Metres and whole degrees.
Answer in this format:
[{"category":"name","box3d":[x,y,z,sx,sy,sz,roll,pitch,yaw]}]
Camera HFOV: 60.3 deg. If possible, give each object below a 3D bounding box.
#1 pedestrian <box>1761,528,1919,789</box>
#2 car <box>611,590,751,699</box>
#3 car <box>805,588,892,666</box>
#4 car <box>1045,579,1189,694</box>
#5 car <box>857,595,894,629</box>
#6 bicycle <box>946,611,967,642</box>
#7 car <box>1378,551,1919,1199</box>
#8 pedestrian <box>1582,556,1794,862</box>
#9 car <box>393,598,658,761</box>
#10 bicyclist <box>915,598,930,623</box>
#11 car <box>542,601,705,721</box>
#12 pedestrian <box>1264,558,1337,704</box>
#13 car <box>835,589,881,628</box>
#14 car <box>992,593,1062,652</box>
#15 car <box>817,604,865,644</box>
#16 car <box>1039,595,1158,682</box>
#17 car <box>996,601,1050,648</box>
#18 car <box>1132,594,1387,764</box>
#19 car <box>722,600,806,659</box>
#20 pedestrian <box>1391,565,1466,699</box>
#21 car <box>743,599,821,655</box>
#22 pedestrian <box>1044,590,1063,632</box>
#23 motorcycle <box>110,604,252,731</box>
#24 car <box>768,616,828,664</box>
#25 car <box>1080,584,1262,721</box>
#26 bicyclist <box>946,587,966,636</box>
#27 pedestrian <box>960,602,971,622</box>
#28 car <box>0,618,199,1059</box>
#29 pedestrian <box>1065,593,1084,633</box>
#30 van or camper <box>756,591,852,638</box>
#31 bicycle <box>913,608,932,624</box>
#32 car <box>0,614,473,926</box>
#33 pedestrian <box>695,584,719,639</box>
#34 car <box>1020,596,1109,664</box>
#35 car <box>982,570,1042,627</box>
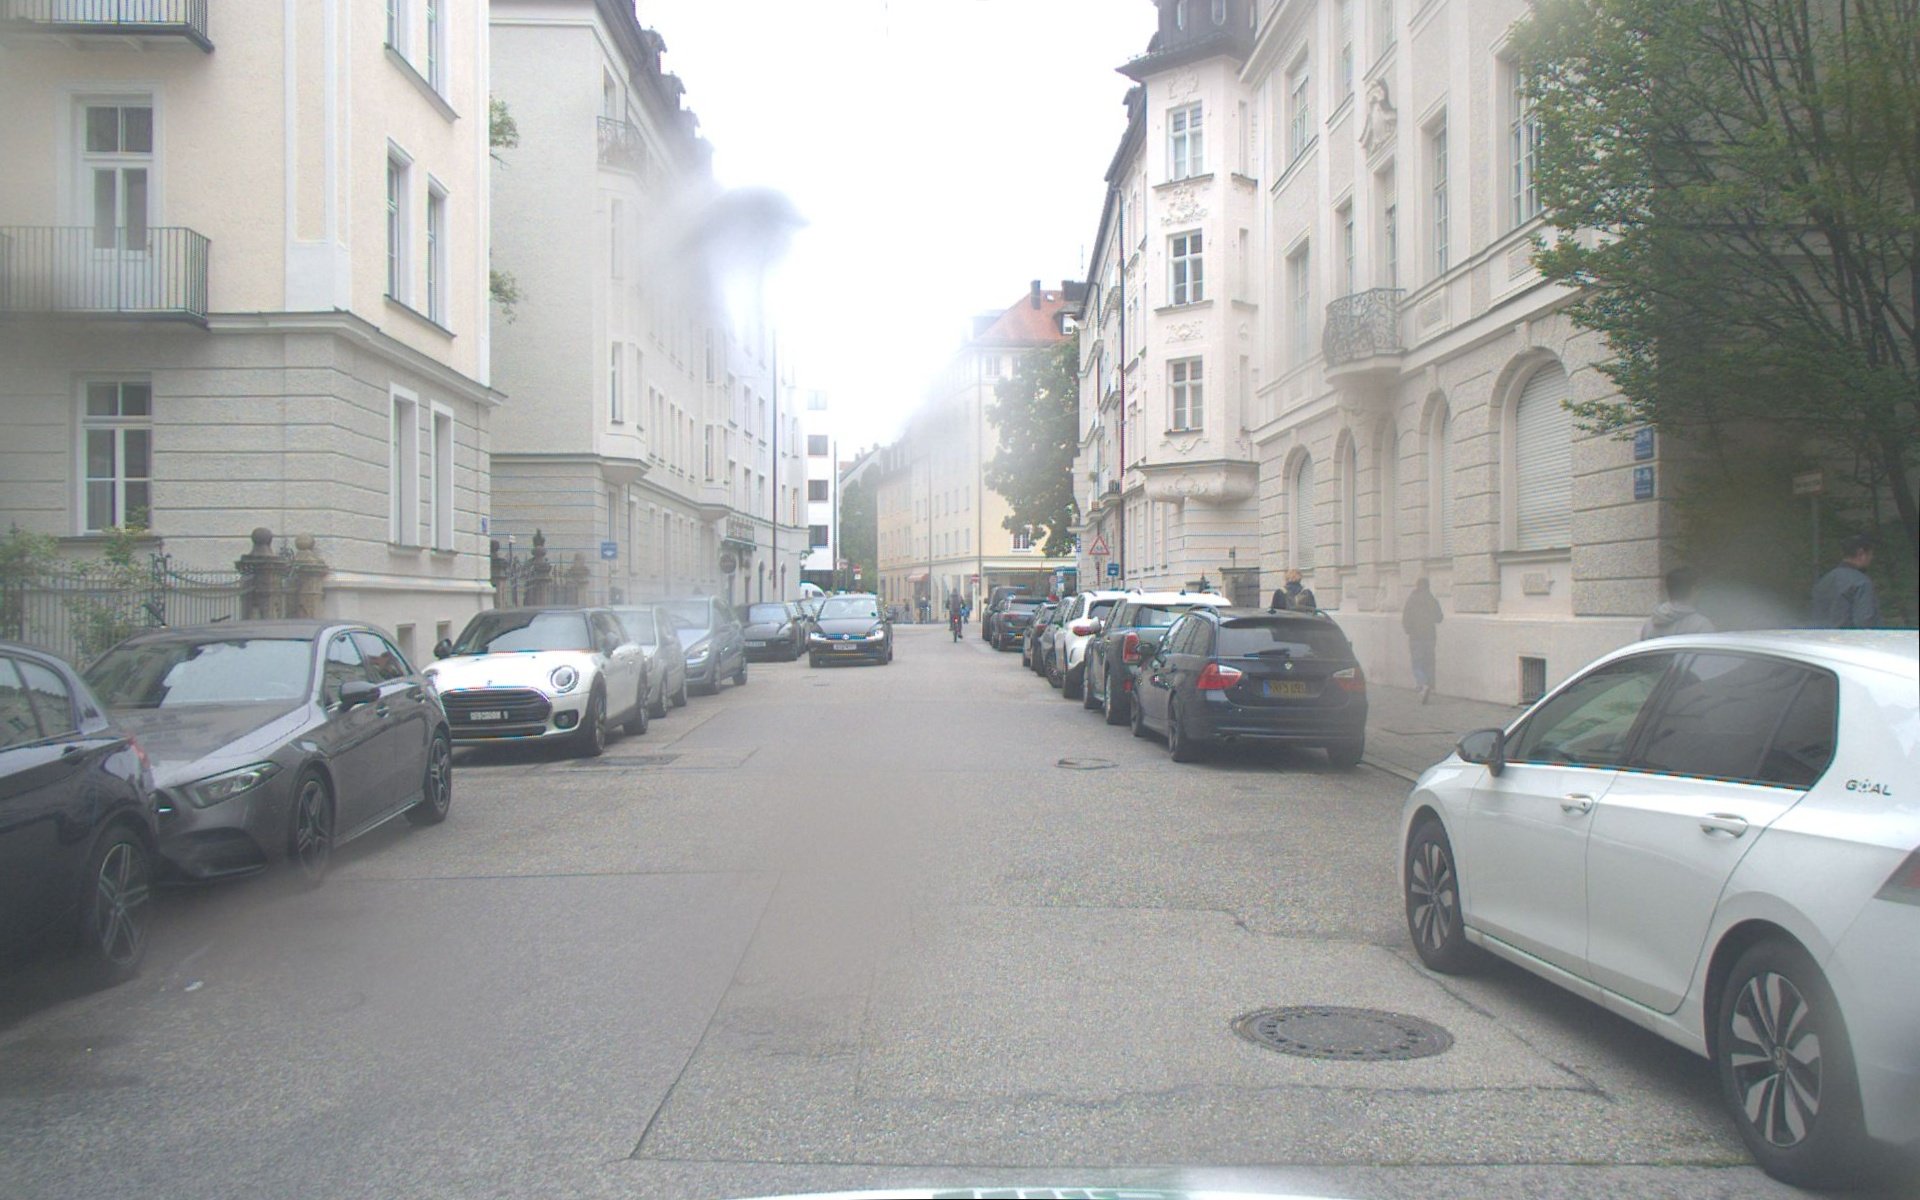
[{"category":"pedestrian","box3d":[6.339,0.405,11.833,0.864,1.800,0.672,-1,0,-2]},{"category":"car","box3d":[-4.631,0.701,27.977,1.662,1.608,4.061,-3,0,-1]},{"category":"car","box3d":[-2.472,0.605,37.590,1.689,1.560,4.084,-3,-1,-1]},{"category":"car","box3d":[2.422,0.519,26.540,1.857,1.665,4.391,-1,0,0]},{"category":"car","box3d":[-4.396,0.655,86.444,1.642,1.625,3.945,-3,-1,1]},{"category":"bicycle","box3d":[-0.107,0.892,55.440,0.626,1.022,1.575,-1,-1,3]},{"category":"car","box3d":[2.909,0.693,5.629,1.630,1.534,4.059,1,-1,-5]},{"category":"pedestrian","box3d":[4.272,0.609,9.719,0.846,1.687,0.854,1,-1,-41]},{"category":"car","box3d":[-4.339,0.756,17.149,1.761,1.460,4.078,-1,-1,-2]},{"category":"bicyclist","box3d":[-2.512,0.692,111.171,0.768,1.666,0.972,0,-1,-15]},{"category":"car","box3d":[-4.547,0.787,22.841,1.612,1.427,3.997,-3,0,-4]},{"category":"pedestrian","box3d":[4.392,0.394,21.379,0.668,1.806,0.855,-3,0,0]},{"category":"car","box3d":[-4.819,0.399,78.451,1.805,1.788,4.001,-1,0,2]},{"category":"car","box3d":[1.888,0.631,47.670,1.673,1.615,3.998,1,0,-3]},{"category":"car","box3d":[-4.711,0.949,66.145,1.706,1.513,4.179,-1,-1,-2]},{"category":"car","box3d":[2.537,0.707,31.143,1.674,1.527,3.997,0,-1,-4]},{"category":"car","box3d":[1.999,0.791,53.431,1.629,1.420,3.582,1,-1,1]},{"category":"car","box3d":[2.824,0.685,16.478,1.676,1.477,4.223,0,0,-1]},{"category":"car","box3d":[-4.879,0.722,41.699,1.813,1.391,4.698,-1,0,-3]},{"category":"pedestrian","box3d":[6.219,0.419,21.984,0.668,1.708,0.812,-3,0,-2]},{"category":"car","box3d":[-5.070,0.772,47.588,1.758,1.444,4.509,-4,-1,-1]},{"category":"pedestrian","box3d":[3.987,0.469,70.850,0.689,1.758,0.703,-2,-1,-4]},{"category":"motorcycle","box3d":[-8.257,0.702,17.619,0.690,1.271,1.820,1,-1,-2]},{"category":"car","box3d":[-5.138,1.250,52.935,1.775,1.409,4.439,-2,0,-5]},{"category":"car","box3d":[2.570,0.616,21.058,1.713,1.551,4.169,0,0,-1]},{"category":"bicyclist","box3d":[-0.128,0.385,55.428,0.593,1.635,0.758,-1,0,3]},{"category":"pedestrian","box3d":[0.367,0.792,109.413,0.684,1.293,0.651,-2,-1,3]},{"category":"car","box3d":[-4.000,0.785,5.025,1.733,1.445,3.997,0,0,-4]},{"category":"pedestrian","box3d":[4.949,0.550,71.299,0.666,1.703,0.654,-3,-1,-4]},{"category":"van or camper","box3d":[-9.692,0.908,102.422,5.796,2.724,1.869,-1,-3,-9]},{"category":"bicycle","box3d":[-2.522,1.078,111.237,0.833,1.019,2.161,0,0,-15]},{"category":"car","box3d":[-4.260,0.822,9.838,1.701,1.388,4.189,-3,0,-4]},{"category":"pedestrian","box3d":[-8.111,0.364,52.987,0.684,1.737,0.665,0,-1,-4]},{"category":"car","box3d":[2.247,0.641,36.534,1.580,1.419,3.998,1,-1,-2]},{"category":"car","box3d":[1.840,-0.026,59.318,1.872,1.918,4.712,1,-1,-1]}]
